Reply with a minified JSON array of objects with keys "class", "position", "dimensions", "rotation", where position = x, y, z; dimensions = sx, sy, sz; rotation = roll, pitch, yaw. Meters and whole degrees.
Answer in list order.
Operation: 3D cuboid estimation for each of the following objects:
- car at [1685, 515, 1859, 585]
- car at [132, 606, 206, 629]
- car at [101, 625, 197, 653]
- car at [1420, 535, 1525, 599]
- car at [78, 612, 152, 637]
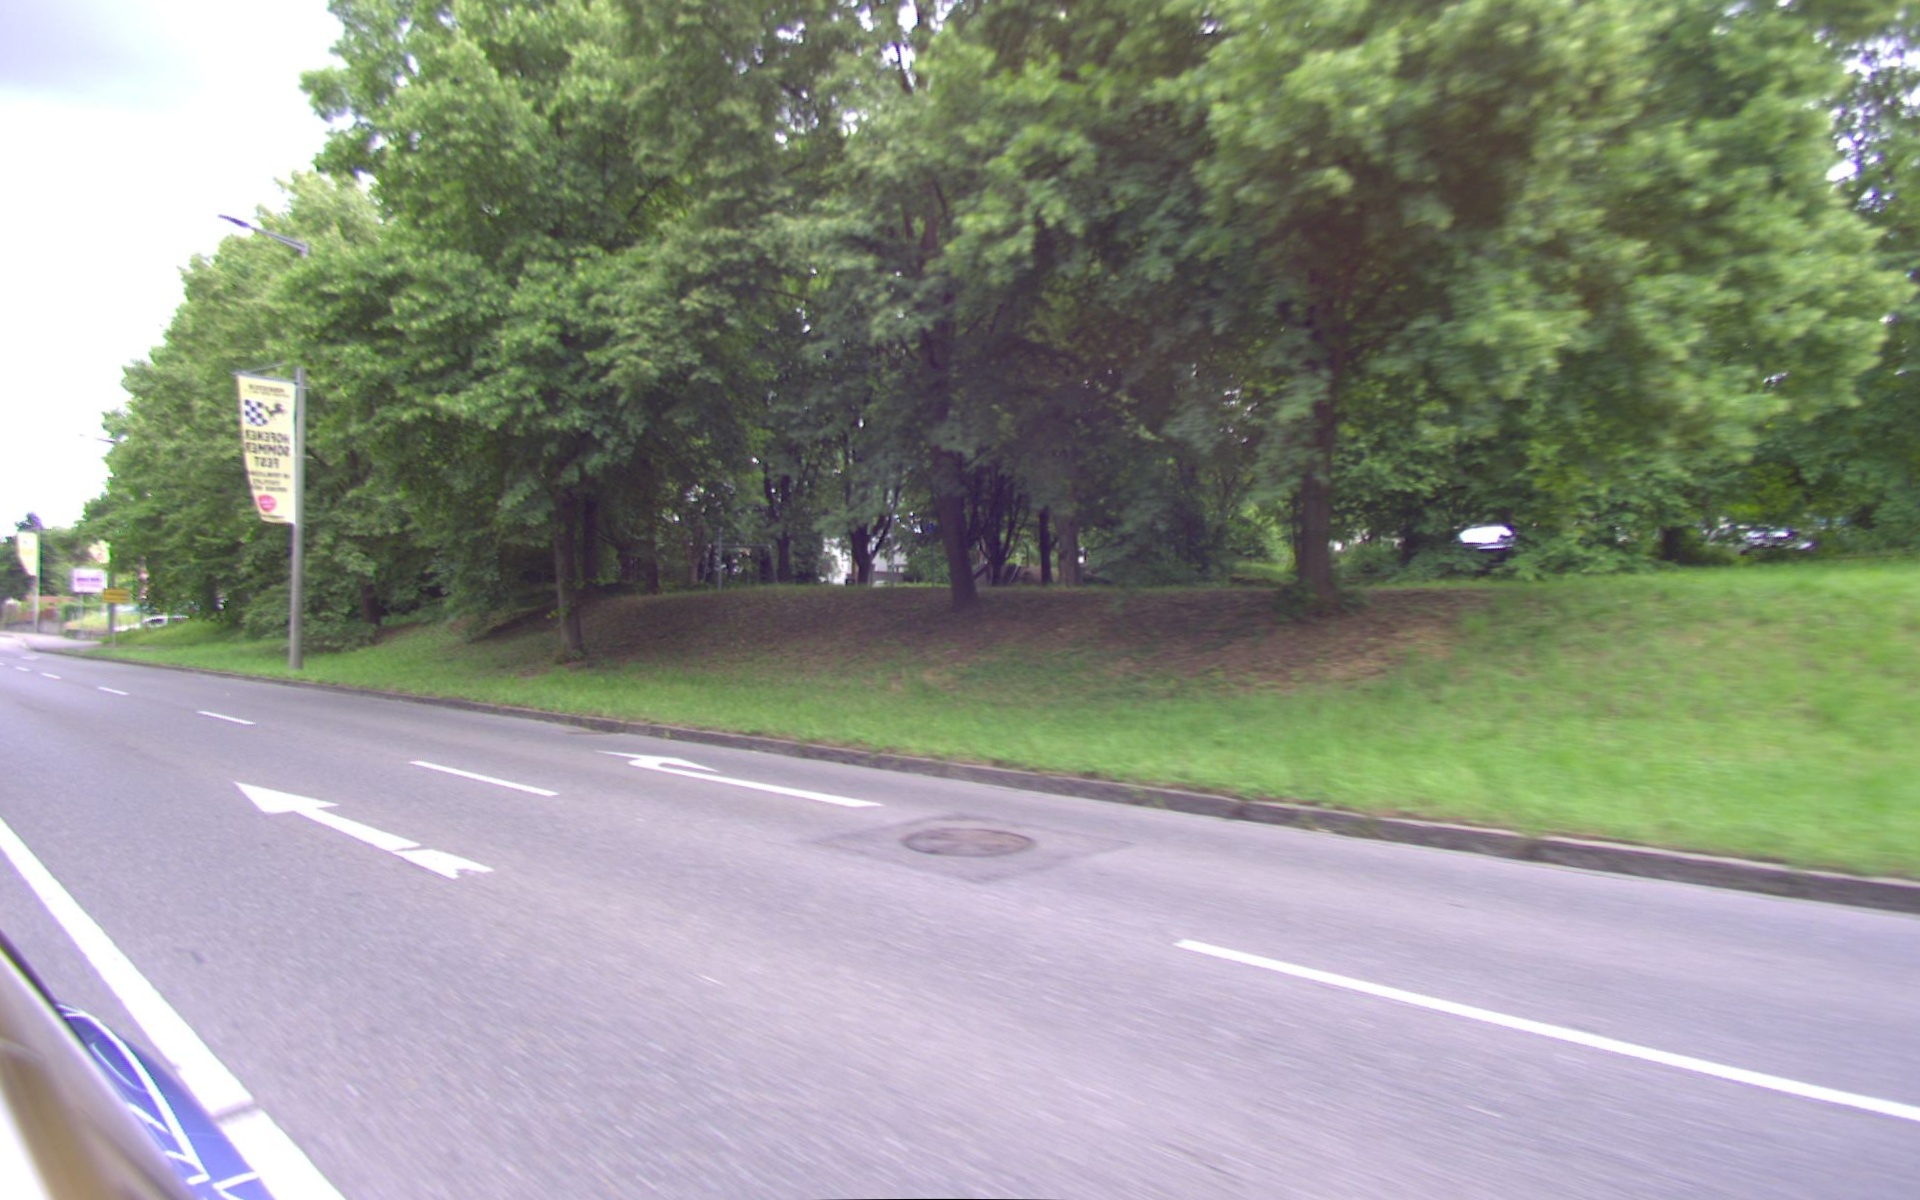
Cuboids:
[{"class":"car","position":[25.020,-1.456,31.473],"dimensions":[2.298,1.910,4.883],"rotation":[-1,0,14]},{"class":"car","position":[-56.830,1.240,72.780],"dimensions":[1.734,1.519,3.946],"rotation":[-1,0,41]},{"class":"car","position":[-48.558,2.314,60.670],"dimensions":[1.746,1.503,4.169],"rotation":[-4,-2,37]},{"class":"car","position":[16.896,-1.021,33.631],"dimensions":[1.981,1.910,4.883],"rotation":[-1,0,14]},{"class":"car","position":[-61.129,1.754,73.260],"dimensions":[1.878,1.630,3.855],"rotation":[-1,0,41]}]
